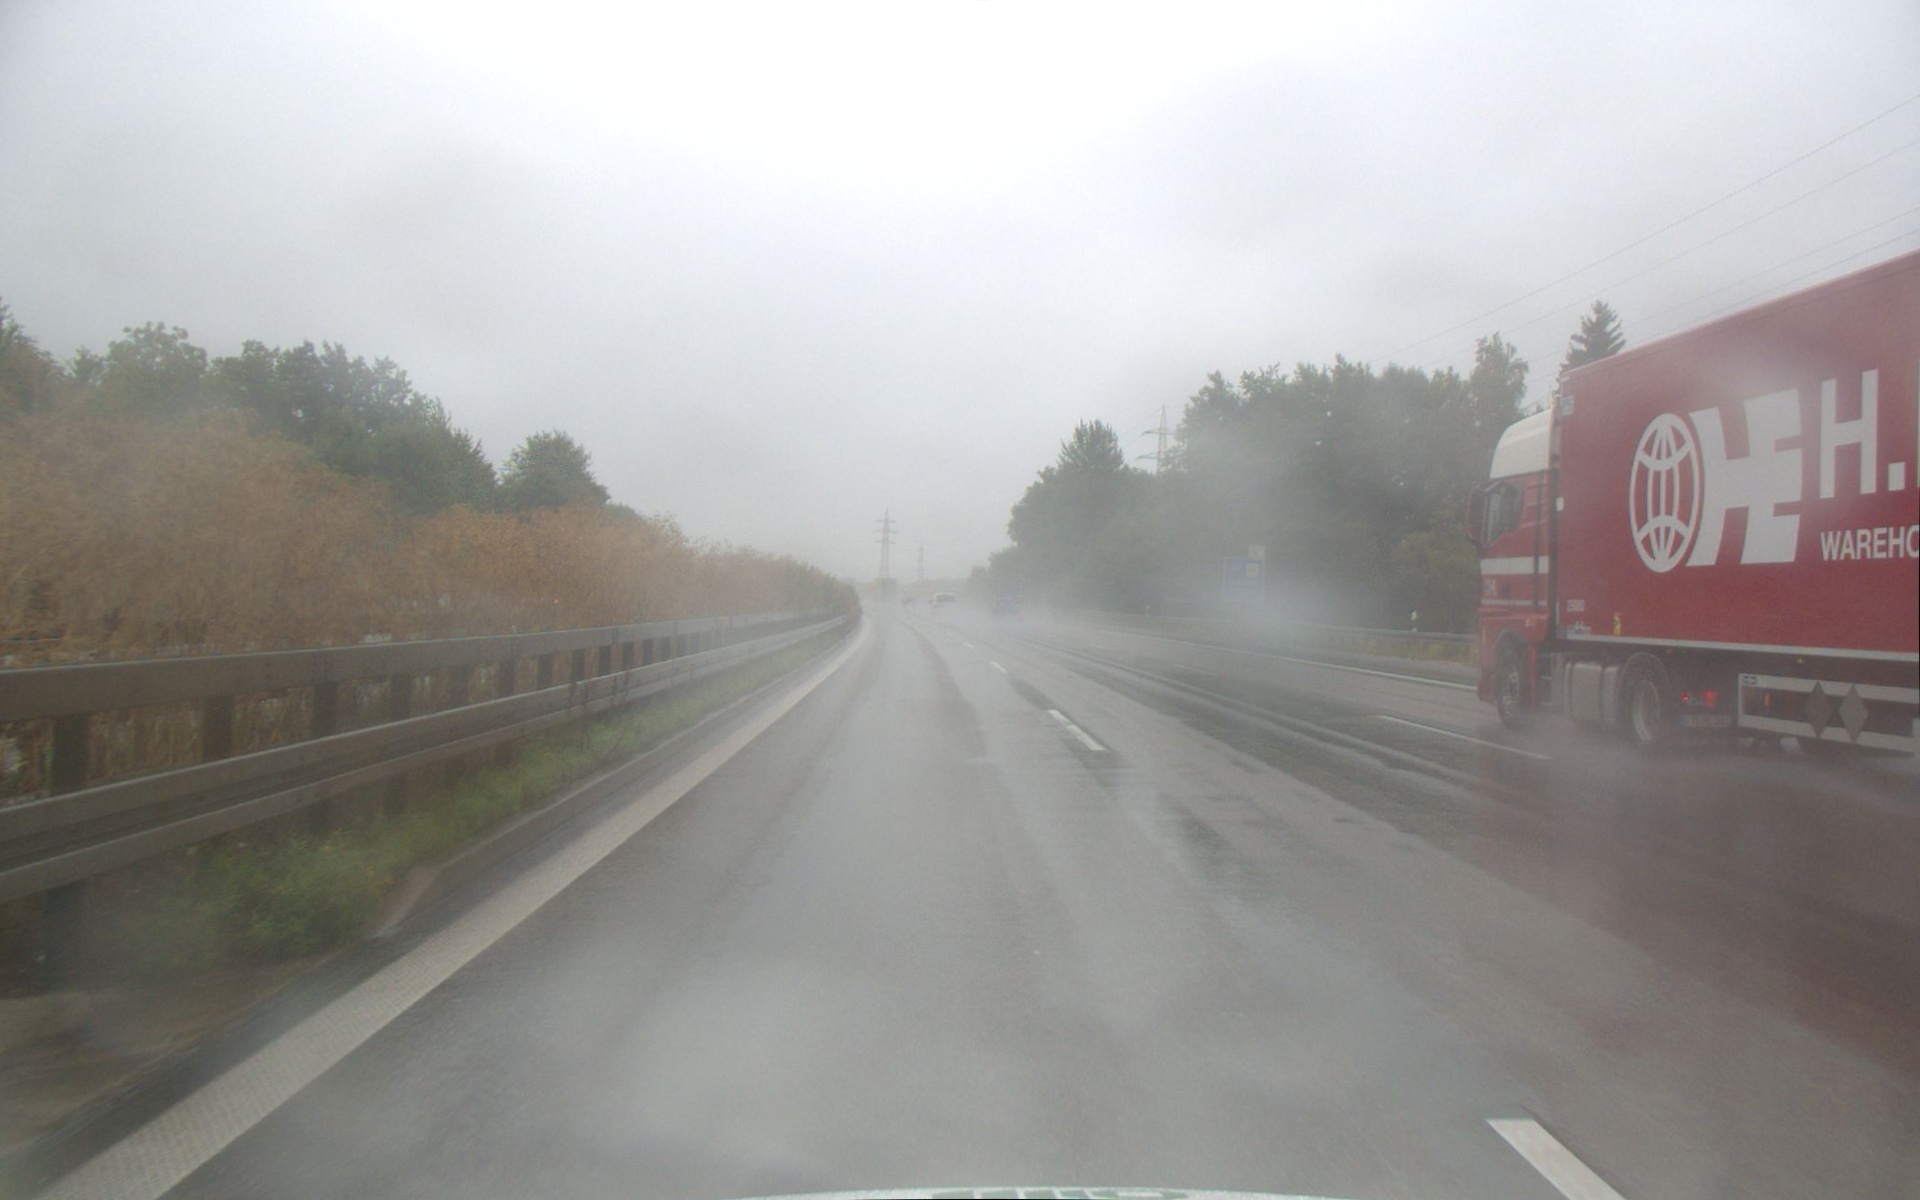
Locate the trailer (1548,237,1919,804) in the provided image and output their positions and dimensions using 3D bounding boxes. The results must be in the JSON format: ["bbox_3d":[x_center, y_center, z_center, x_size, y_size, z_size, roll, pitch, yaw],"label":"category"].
[{"bbox_3d":[8.087,-0.556,11.834,2.567,4.024,13.626,1,0,-1],"label":"trailer"}]

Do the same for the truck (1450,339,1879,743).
[{"bbox_3d":[7.881,-0.590,19.319,2.567,4.024,5.431,1,0,-2],"label":"truck"}]

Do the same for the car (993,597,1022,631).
[{"bbox_3d":[3.203,0.937,111.708,1.770,2.196,4.000,1,0,-1],"label":"car"}]
